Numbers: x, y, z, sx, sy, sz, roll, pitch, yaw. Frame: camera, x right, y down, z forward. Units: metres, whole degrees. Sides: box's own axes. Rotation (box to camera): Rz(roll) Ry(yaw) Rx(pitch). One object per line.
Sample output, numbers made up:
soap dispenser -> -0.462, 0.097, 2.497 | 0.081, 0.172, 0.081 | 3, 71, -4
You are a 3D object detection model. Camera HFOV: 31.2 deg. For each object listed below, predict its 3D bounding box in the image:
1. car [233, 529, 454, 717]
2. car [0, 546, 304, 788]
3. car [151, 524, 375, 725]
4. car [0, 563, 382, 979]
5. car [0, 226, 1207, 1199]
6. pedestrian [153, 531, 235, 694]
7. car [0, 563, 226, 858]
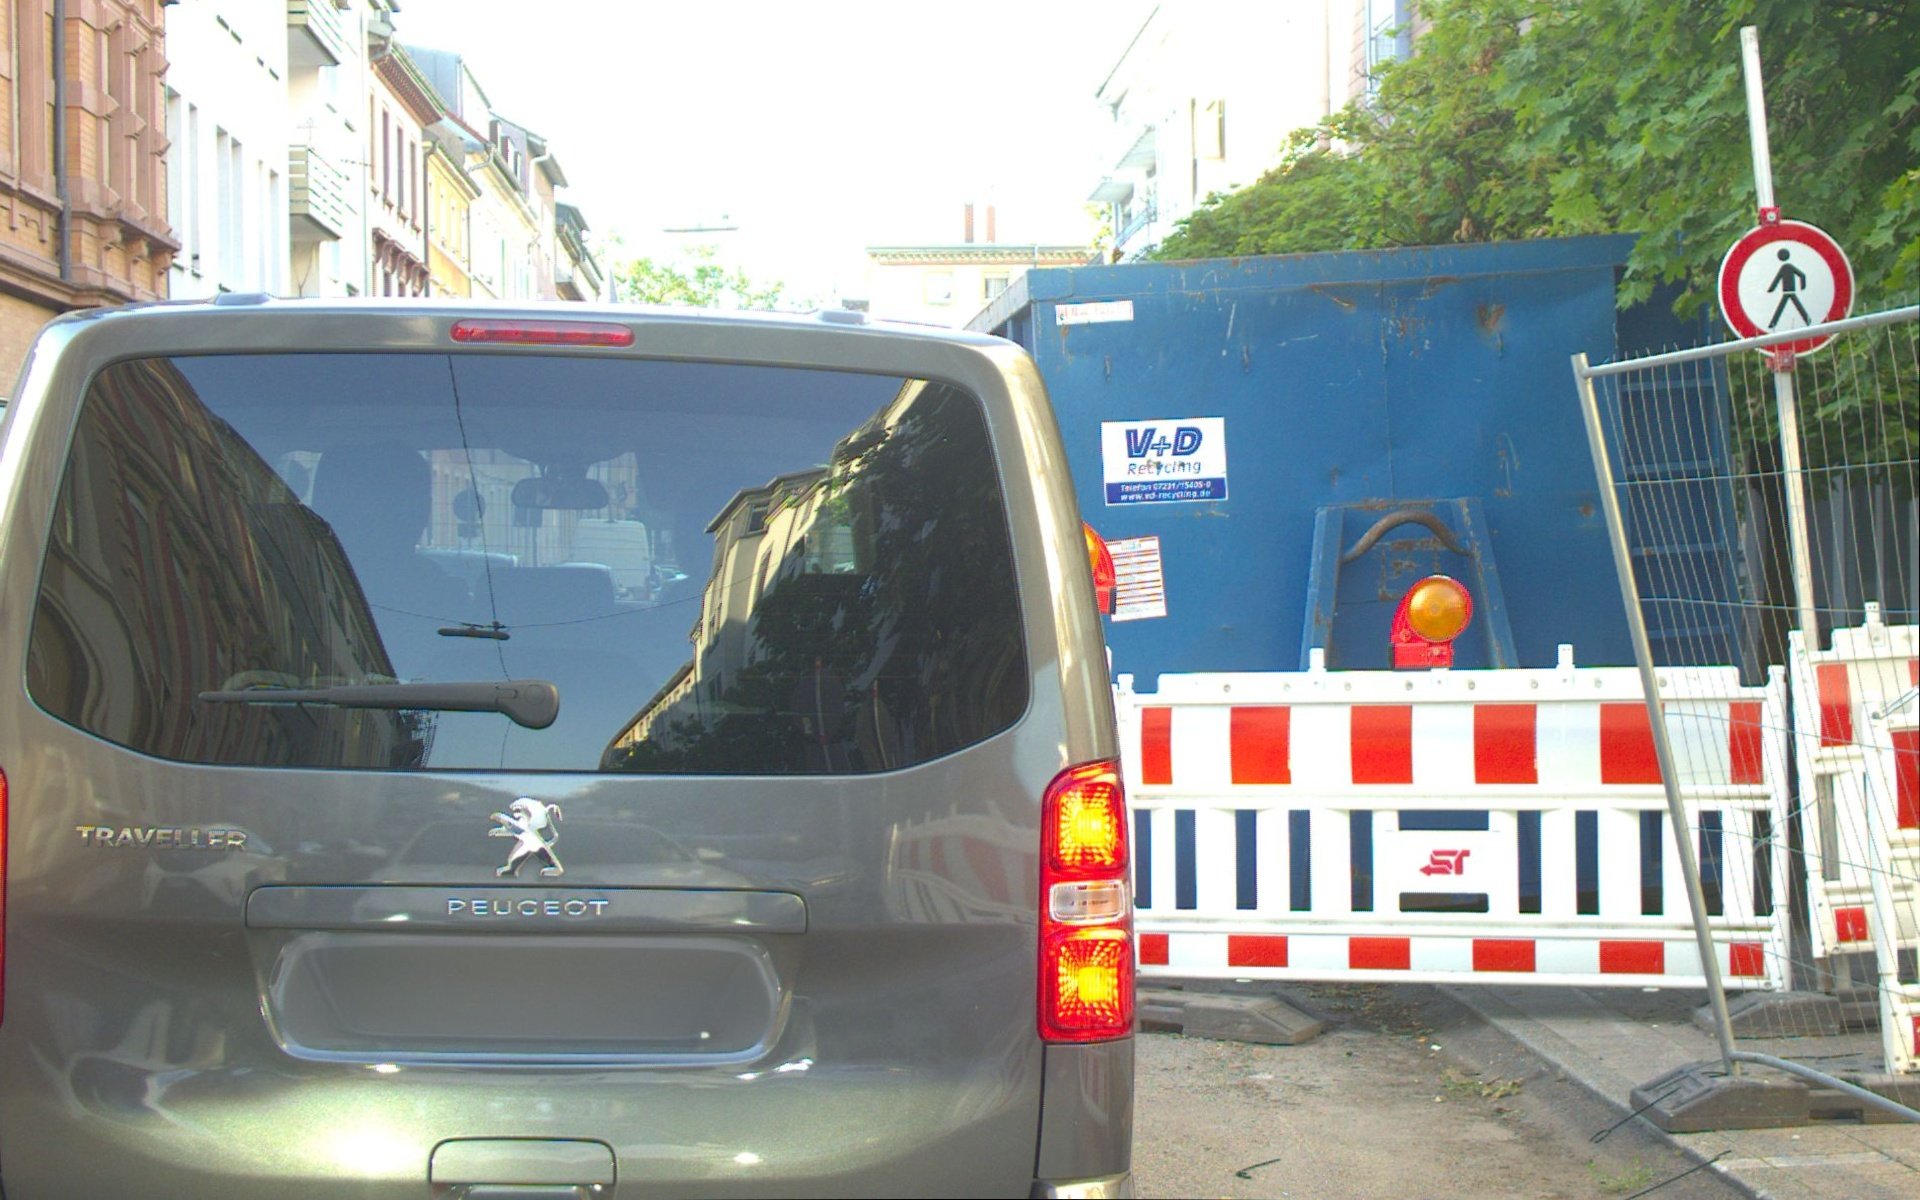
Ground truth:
car -> -6.294, 0.221, 35.451 | 1.891, 1.714, 3.755 | 4, 0, -7
car -> -5.736, 0.443, 24.724 | 1.655, 1.520, 3.418 | 4, 0, -7
car -> -6.392, 0.207, 31.807 | 1.666, 1.660, 3.092 | 4, 0, -7
car -> -4.216, 0.617, 12.732 | 1.929, 1.446, 4.806 | 0, 1, 21
car -> -0.837, 0.448, 6.623 | 1.865, 1.880, 4.236 | 0, 0, -7
pedestrian -> -7.954, 0.123, 35.707 | 0.739, 1.659, 0.704 | -1, 1, -7
car -> -5.203, 0.546, 19.416 | 1.655, 1.455, 3.418 | 4, 0, -7
